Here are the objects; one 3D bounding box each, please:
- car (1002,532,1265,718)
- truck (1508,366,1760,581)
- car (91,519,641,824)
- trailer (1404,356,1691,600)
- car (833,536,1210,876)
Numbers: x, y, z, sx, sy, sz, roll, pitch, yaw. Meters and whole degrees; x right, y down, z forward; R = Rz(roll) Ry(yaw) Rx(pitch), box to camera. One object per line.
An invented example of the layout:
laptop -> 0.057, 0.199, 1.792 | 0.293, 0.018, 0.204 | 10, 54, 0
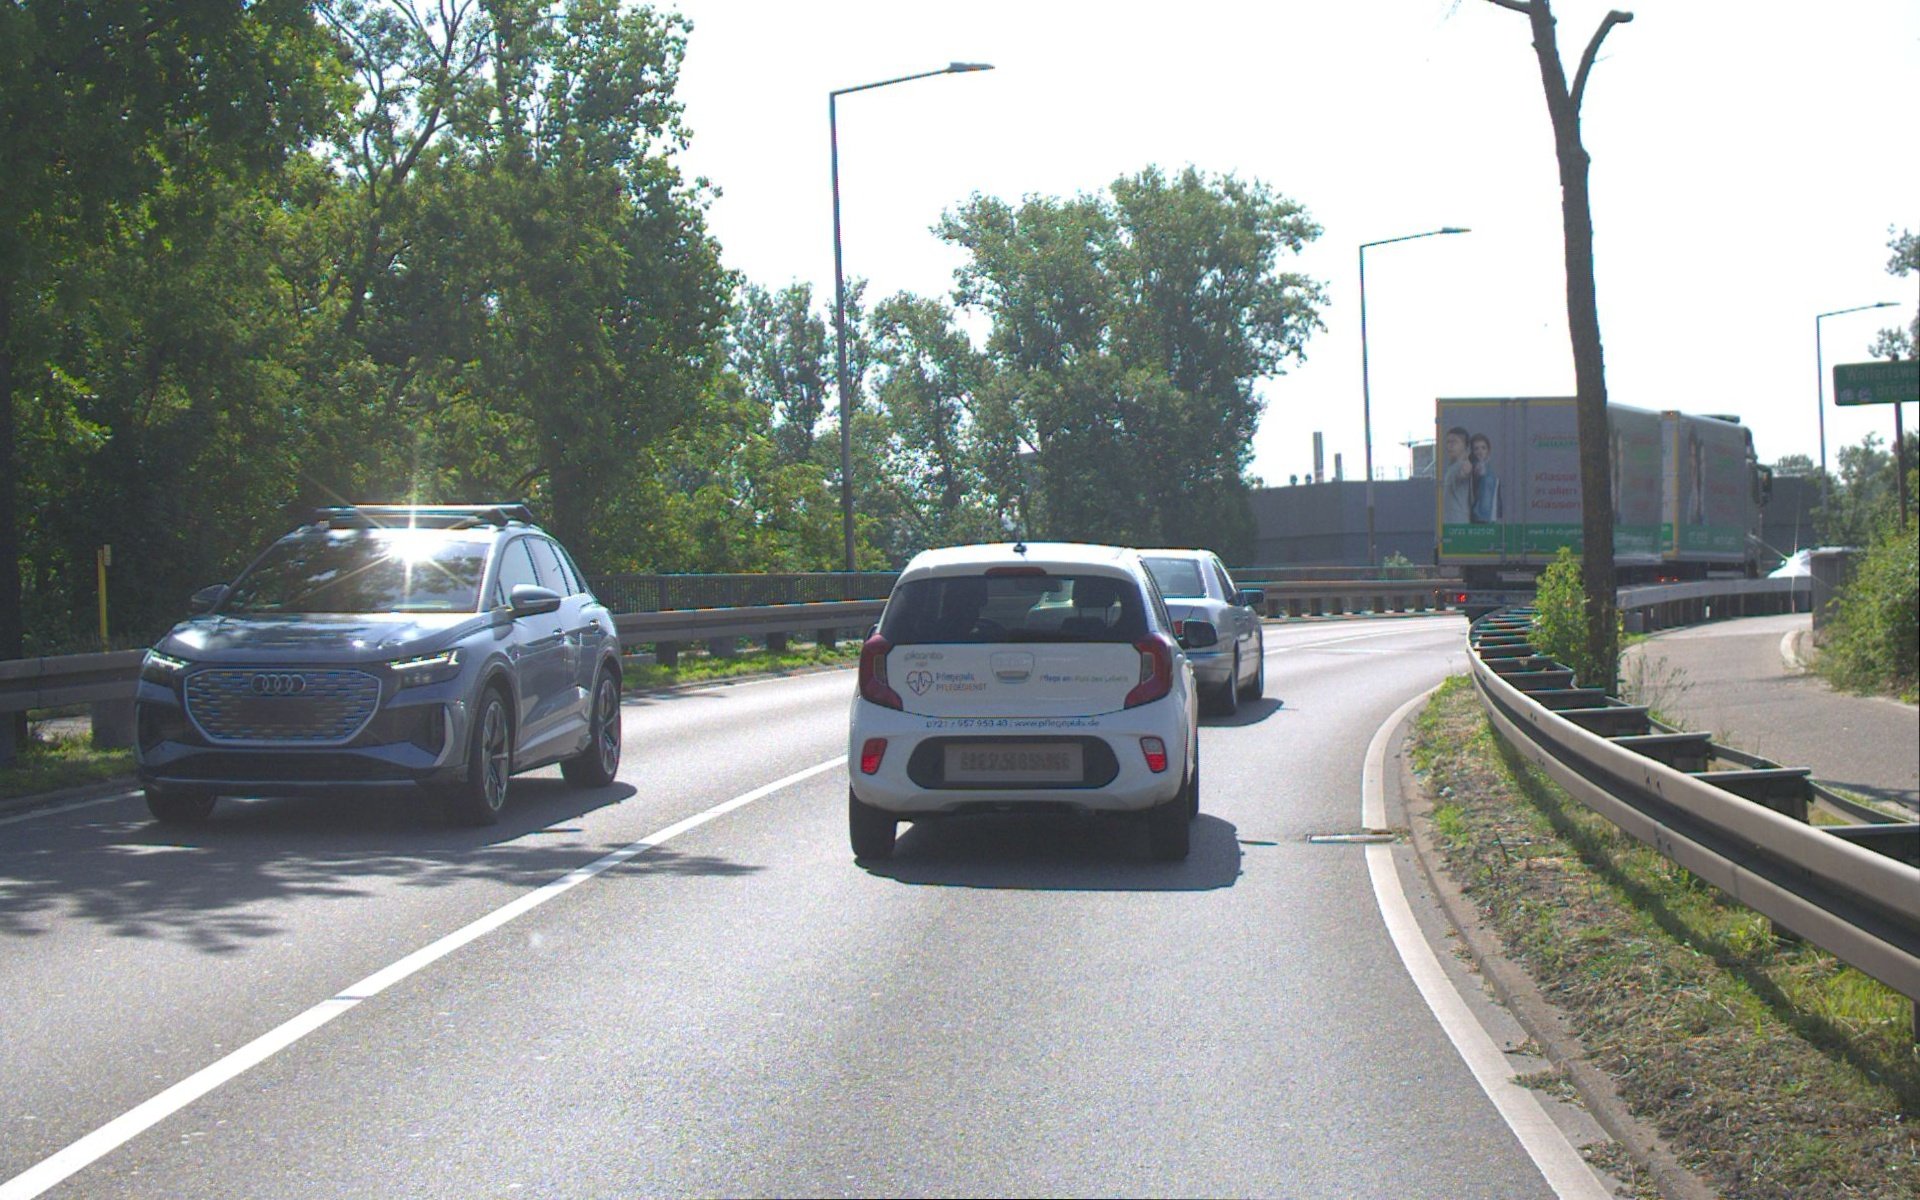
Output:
car -> 1.605, 0.146, 30.027 | 1.939, 1.481, 4.899 | 0, 1, 7
truck -> 12.773, -2.421, 64.535 | 3.264, 3.745, 8.363 | 1, 3, 21
car -> -3.191, 0.321, 19.363 | 1.930, 1.528, 4.116 | 0, 1, 7
trailer -> 9.880, -2.082, 57.101 | 3.228, 3.745, 7.817 | 1, 3, 21
car -> 0.363, 0.445, 17.640 | 1.702, 1.489, 4.000 | 1, 2, 3
